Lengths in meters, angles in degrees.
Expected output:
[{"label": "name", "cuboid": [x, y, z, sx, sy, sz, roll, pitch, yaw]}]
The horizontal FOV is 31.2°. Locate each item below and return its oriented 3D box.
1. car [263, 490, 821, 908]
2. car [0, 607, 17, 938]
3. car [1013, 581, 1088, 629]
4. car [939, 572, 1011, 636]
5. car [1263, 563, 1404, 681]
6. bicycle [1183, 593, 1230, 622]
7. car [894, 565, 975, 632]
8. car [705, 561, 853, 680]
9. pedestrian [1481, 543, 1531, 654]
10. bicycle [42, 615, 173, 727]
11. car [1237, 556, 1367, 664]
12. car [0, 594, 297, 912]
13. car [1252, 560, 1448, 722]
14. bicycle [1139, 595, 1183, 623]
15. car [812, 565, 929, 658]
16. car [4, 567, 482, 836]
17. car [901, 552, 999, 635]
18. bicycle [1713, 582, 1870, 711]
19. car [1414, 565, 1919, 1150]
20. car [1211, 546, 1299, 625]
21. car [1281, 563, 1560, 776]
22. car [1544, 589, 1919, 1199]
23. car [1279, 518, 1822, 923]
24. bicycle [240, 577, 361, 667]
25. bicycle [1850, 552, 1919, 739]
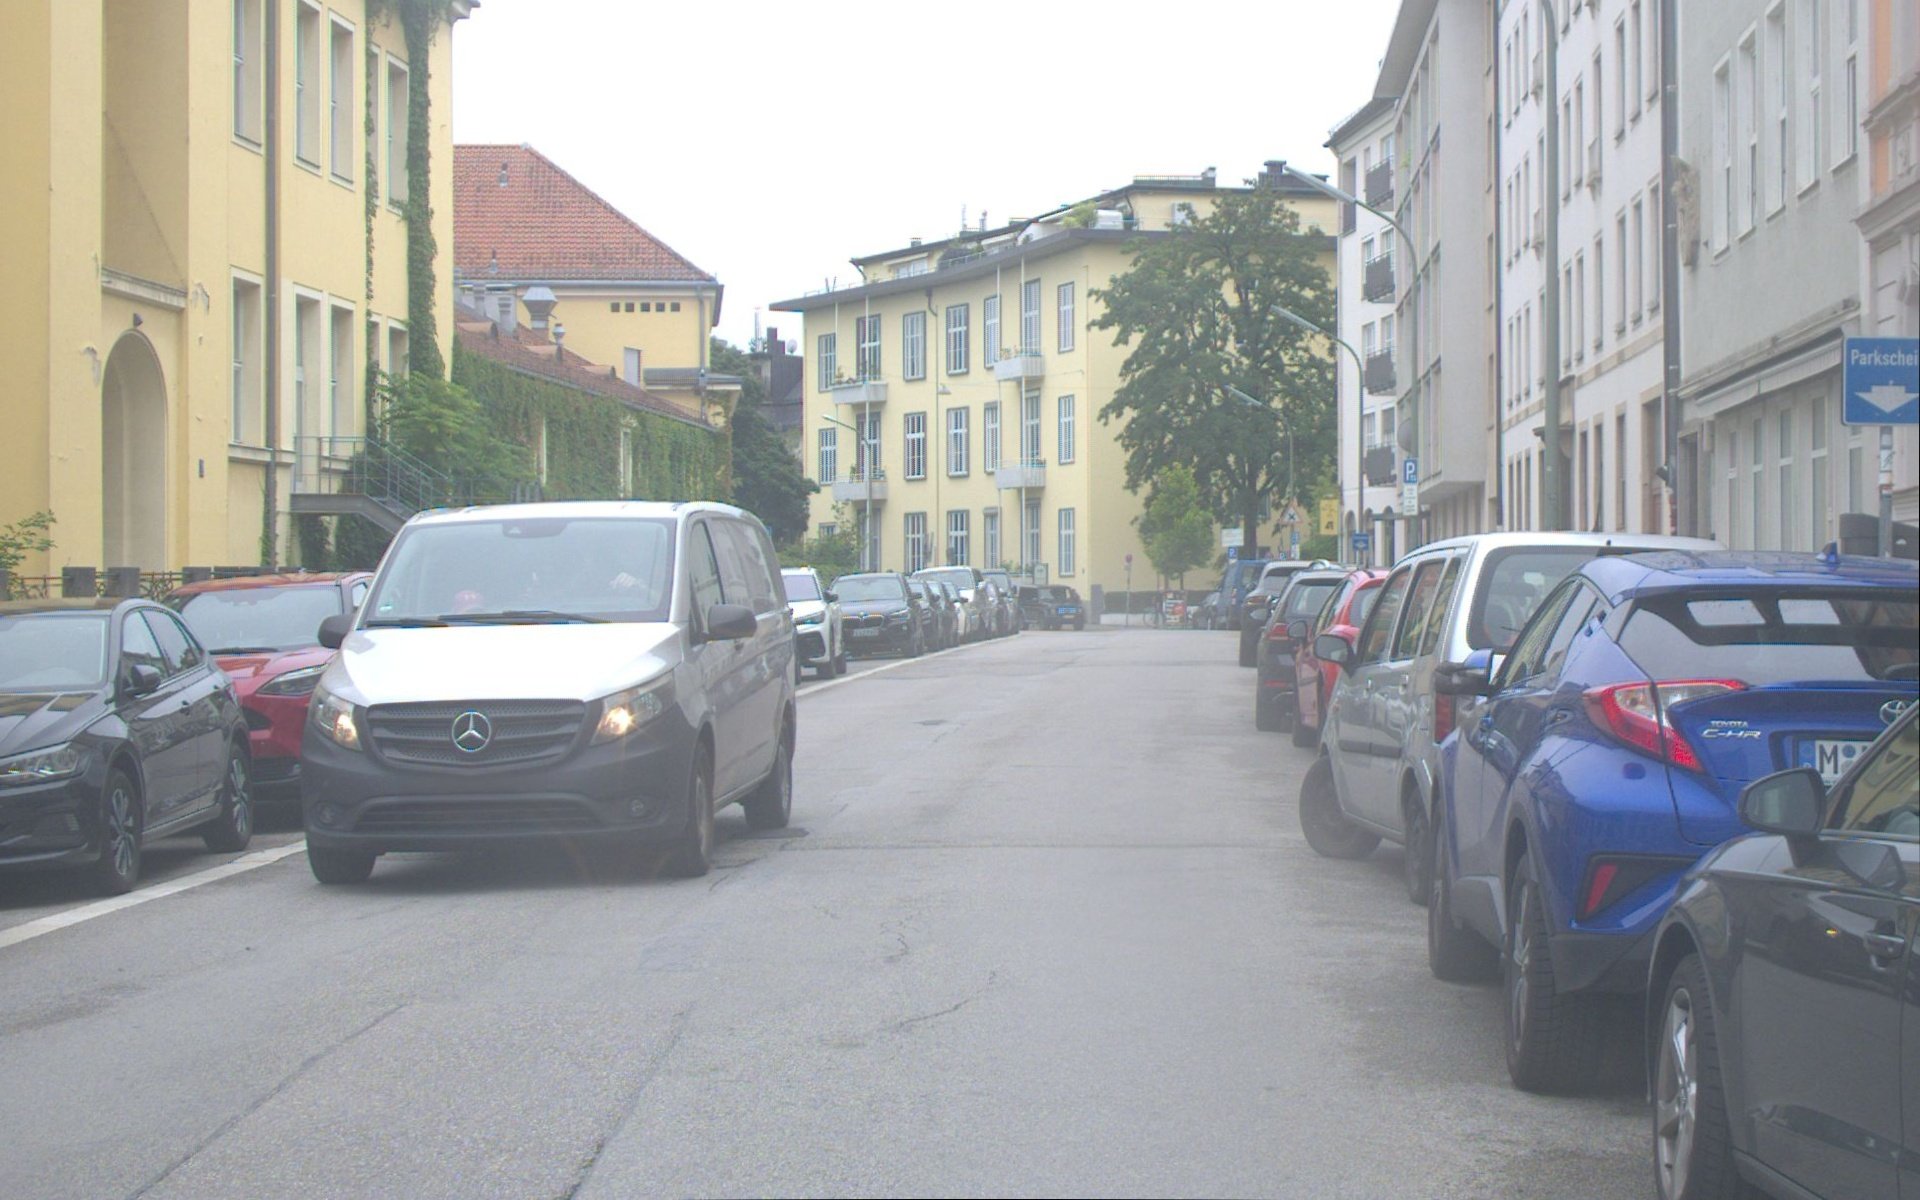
[{"label": "car", "cuboid": [-2.018, 0.443, 18.304, 1.916, 1.842, 5.320, -2, 0, 4]}, {"label": "car", "cuboid": [-5.216, 0.783, 12.636, 2.014, 1.413, 4.615, -3, 0, 2]}, {"label": "car", "cuboid": [3.857, 0.201, 147.376, 1.762, 1.868, 4.380, 4, -1, -17]}, {"label": "car", "cuboid": [0.443, 0.103, 95.282, 1.697, 1.637, 4.489, -3, 0, 3]}, {"label": "car", "cuboid": [4.828, 0.271, 44.900, 1.673, 1.424, 4.529, 1, 0, 5]}, {"label": "bicycle", "cuboid": [10.522, 0.318, 146.588, 1.923, 1.197, 0.595, 0, 0, 18]}, {"label": "car", "cuboid": [-0.567, -0.039, 79.555, 1.591, 1.436, 4.018, -3, 0, 3]}, {"label": "car", "cuboid": [-2.629, 0.277, 50.820, 1.745, 1.628, 4.856, -2, 0, 2]}, {"label": "pedestrian", "cuboid": [8.726, -0.018, 54.948, 0.723, 1.757, 0.904, 0, -2, 5]}, {"label": "bicycle", "cuboid": [-8.366, 0.686, 33.807, 0.537, 1.059, 1.639, 0, 0, 14]}, {"label": "car", "cuboid": [5.173, 0.135, 52.057, 1.840, 1.517, 4.708, 1, 0, 6]}, {"label": "car", "cuboid": [-4.759, 0.718, 17.654, 1.749, 1.400, 4.355, -3, 0, 1]}, {"label": "car", "cuboid": [3.604, 0.350, 32.097, 1.688, 1.397, 4.363, 0, 0, 6]}, {"label": "bicycle", "cuboid": [8.650, 0.402, 147.945, 1.926, 1.197, 0.594, 0, 0, 41]}, {"label": "car", "cuboid": [-1.637, 0.198, 64.409, 1.789, 1.581, 4.818, -3, 0, 2]}, {"label": "car", "cuboid": [-4.499, 0.592, 22.306, 1.958, 1.477, 4.529, -3, 0, 2]}, {"label": "car", "cuboid": [-0.221, -0.162, 85.000, 1.887, 1.883, 4.773, -3, 0, 5]}, {"label": "bicycle", "cuboid": [7.393, 0.399, 30.508, 0.621, 1.086, 1.810, -1, 1, 39]}, {"label": "car", "cuboid": [2.474, 0.637, 11.035, 1.742, 1.489, 4.547, 0, 0, 4]}, {"label": "car", "cuboid": [9.422, -0.427, 110.268, 2.079, 2.226, 5.244, 4, -2, -2]}, {"label": "car", "cuboid": [3.538, 0.483, 27.047, 1.687, 1.495, 4.147, 2, 1, 1]}, {"label": "car", "cuboid": [2.407, 0.758, 6.240, 1.705, 1.449, 4.402, 3, 0, -2]}, {"label": "car", "cuboid": [2.658, 0.493, 16.324, 1.681, 1.668, 3.805, 1, 0, -3]}, {"label": "bicycle", "cuboid": [-9.529, 0.312, 49.695, 1.626, 1.264, 0.527, -1, 0, 6]}, {"label": "bicycle", "cuboid": [7.388, 0.322, 26.356, 0.595, 1.380, 2.092, -1, 1, 1]}]
